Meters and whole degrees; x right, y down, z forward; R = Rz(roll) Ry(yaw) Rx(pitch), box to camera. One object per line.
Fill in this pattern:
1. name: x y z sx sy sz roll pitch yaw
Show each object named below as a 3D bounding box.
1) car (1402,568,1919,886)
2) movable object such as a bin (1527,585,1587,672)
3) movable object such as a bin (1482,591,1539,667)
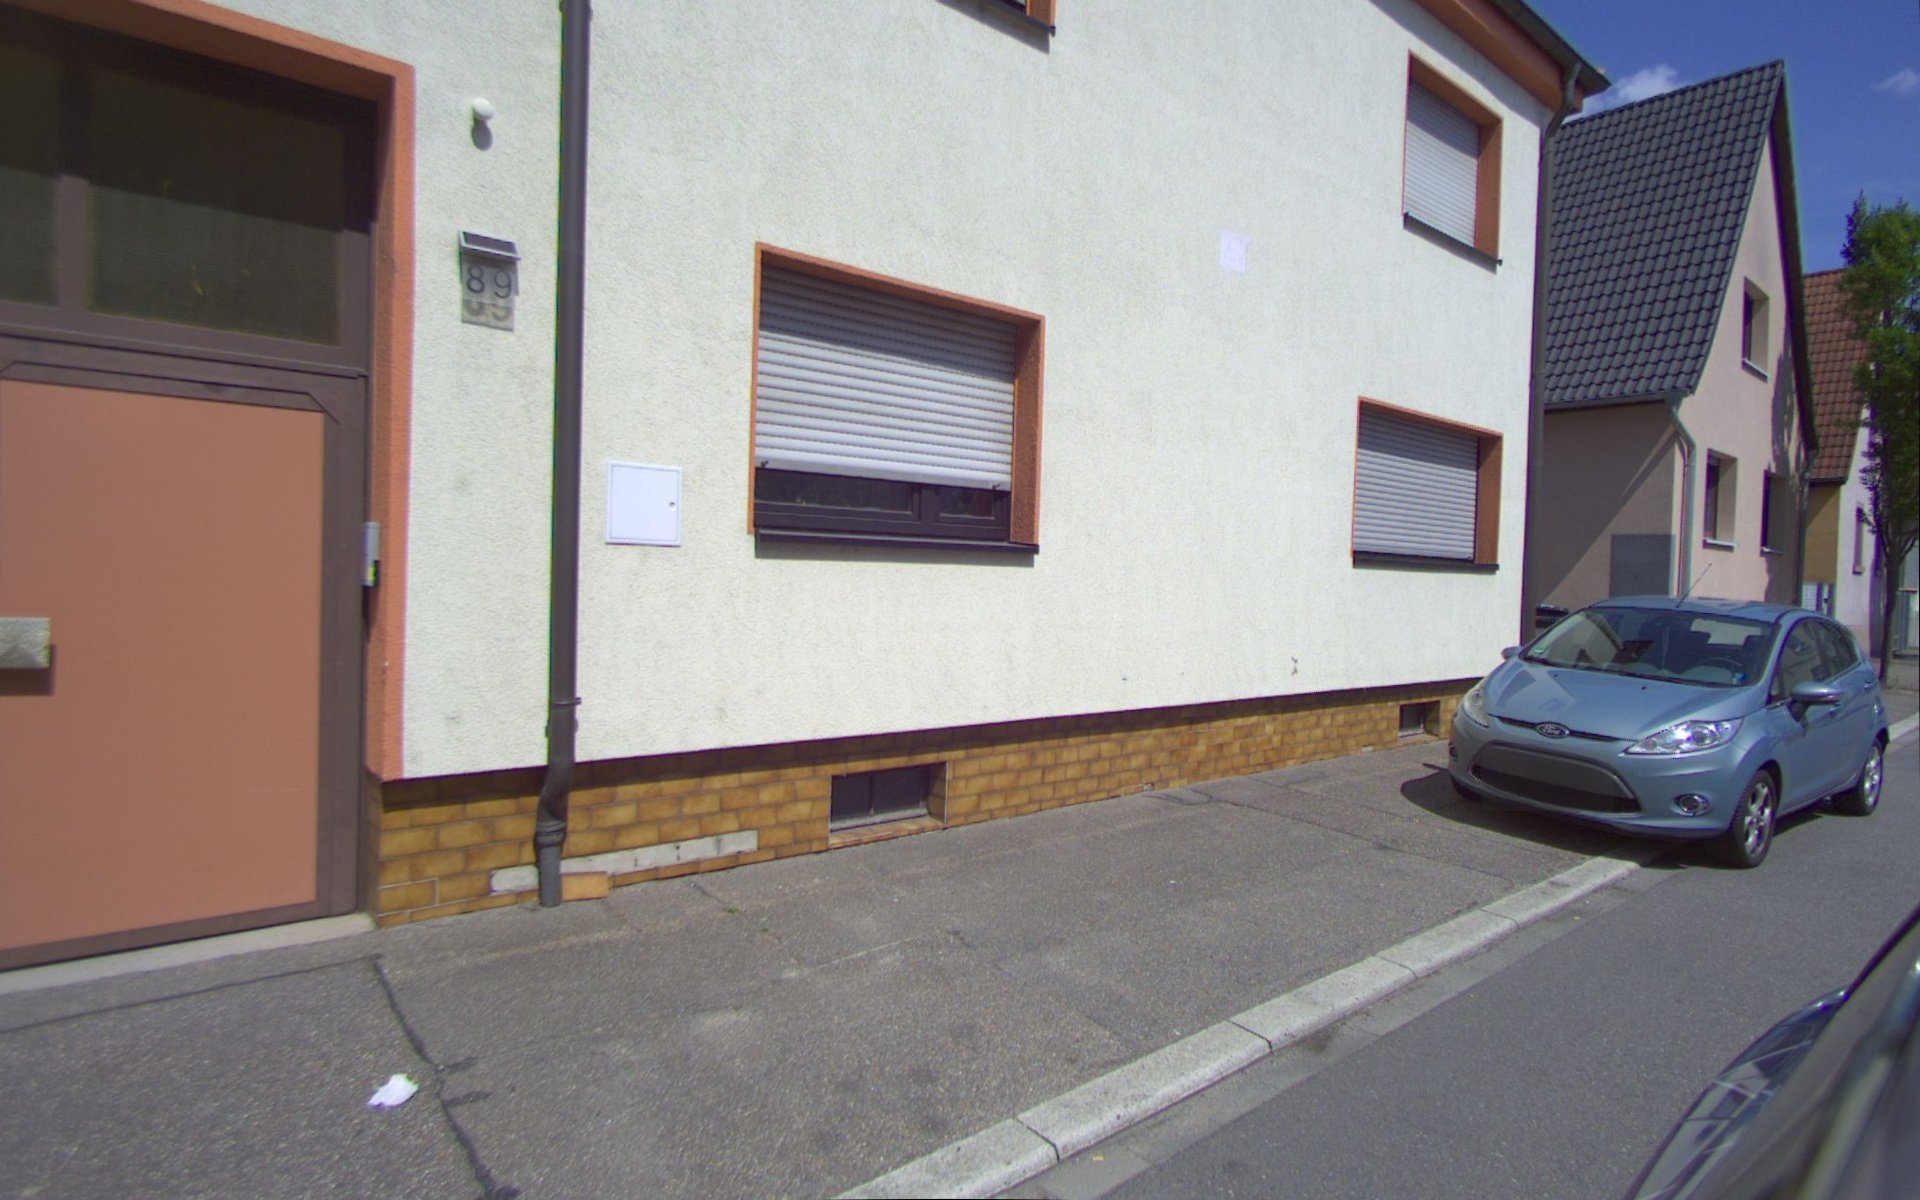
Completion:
1. car: 4.881 0.630 6.879 3.679 1.499 1.728 0 5 -36
2. movable object such as a bin: 8.327 0.379 14.109 0.687 1.164 0.493 0 2 -42
3. movable object such as a bin: 7.954 0.402 14.627 0.660 1.041 0.493 0 3 -42
